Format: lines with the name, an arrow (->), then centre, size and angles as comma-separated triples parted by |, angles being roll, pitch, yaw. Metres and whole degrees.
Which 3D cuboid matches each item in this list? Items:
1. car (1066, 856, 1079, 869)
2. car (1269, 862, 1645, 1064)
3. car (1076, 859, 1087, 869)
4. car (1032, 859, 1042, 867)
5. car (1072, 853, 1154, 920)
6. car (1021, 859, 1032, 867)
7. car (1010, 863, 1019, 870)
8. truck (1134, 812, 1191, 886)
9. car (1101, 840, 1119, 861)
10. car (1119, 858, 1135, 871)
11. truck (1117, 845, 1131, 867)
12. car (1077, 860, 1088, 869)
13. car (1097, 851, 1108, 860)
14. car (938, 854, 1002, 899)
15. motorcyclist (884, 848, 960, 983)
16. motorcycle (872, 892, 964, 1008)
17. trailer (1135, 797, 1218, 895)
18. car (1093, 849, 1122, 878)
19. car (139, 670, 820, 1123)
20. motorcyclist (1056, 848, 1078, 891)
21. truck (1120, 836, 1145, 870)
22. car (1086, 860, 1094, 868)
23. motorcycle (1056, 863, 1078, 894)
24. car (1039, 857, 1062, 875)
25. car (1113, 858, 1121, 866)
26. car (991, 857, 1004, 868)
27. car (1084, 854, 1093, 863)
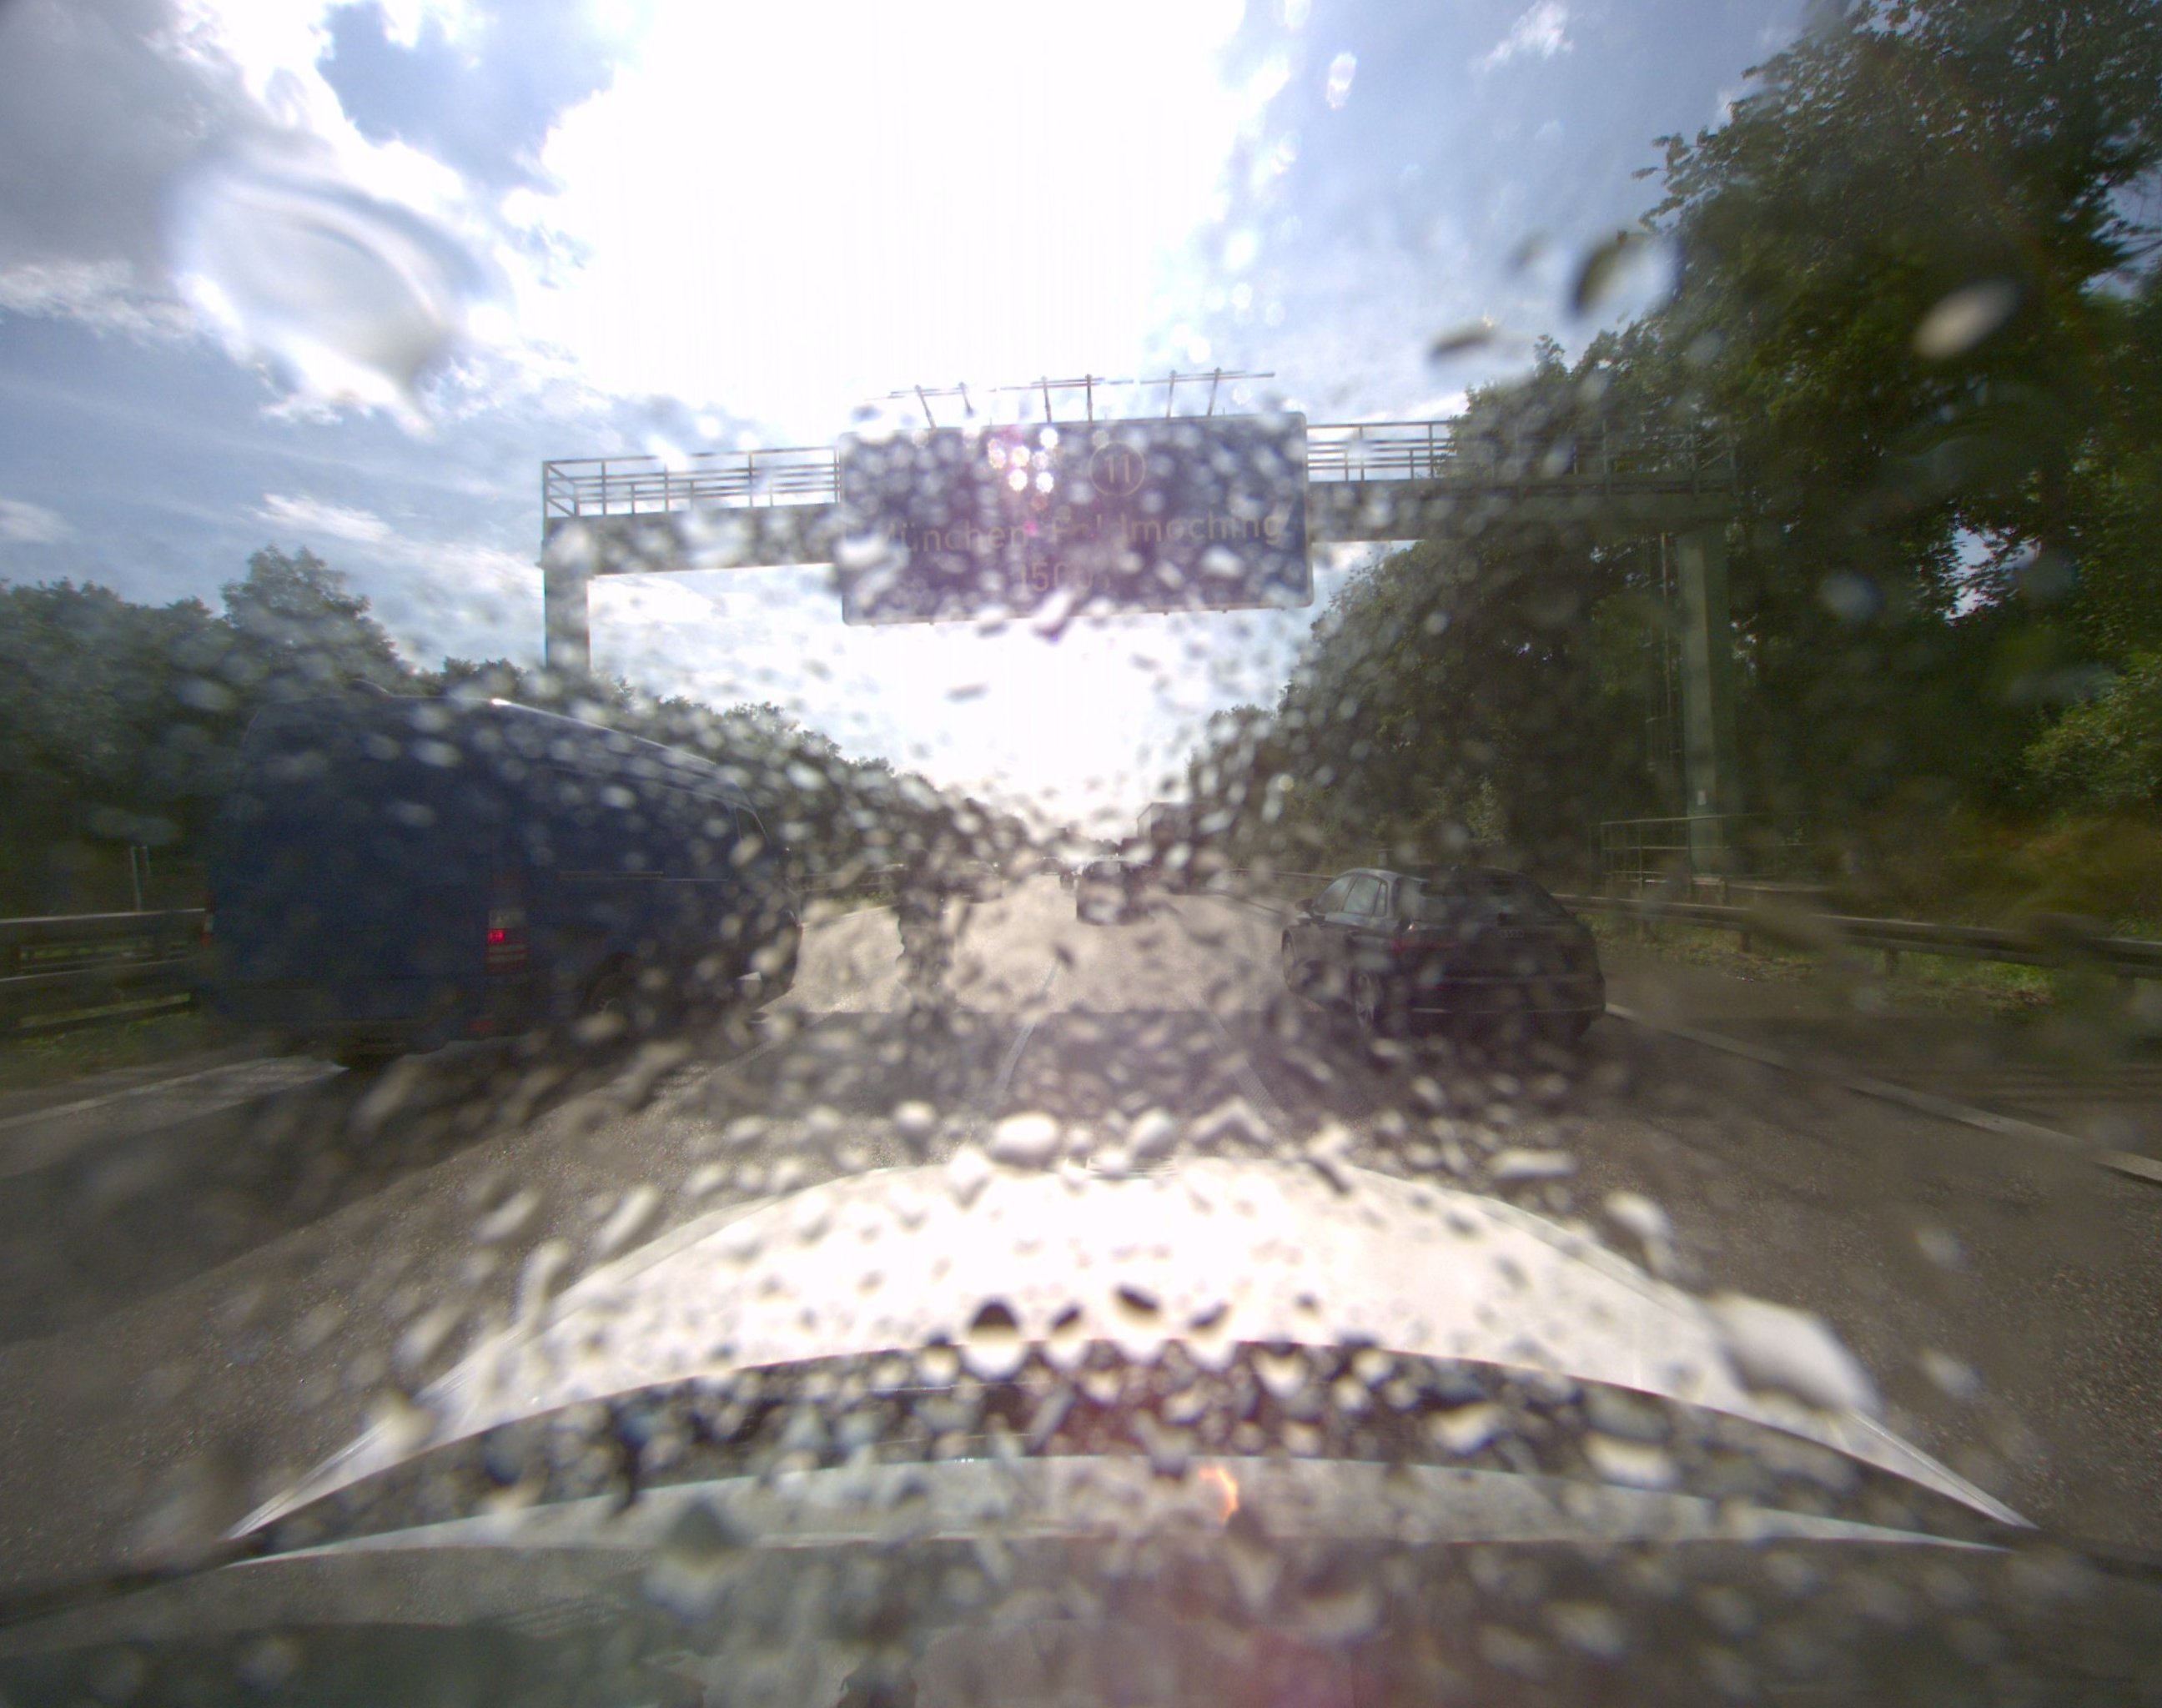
car -> -1.120, 1.137, 109.552 | 1.669, 1.597, 3.437 | -1, 0, 1
car -> 3.167, 0.791, 7.960 | 1.748, 1.396, 4.369 | -1, 0, 1
car -> 0.150, 2.050, 164.511 | 1.986, 2.014, 4.001 | -1, -1, 1
car -> -10.940, 2.233, 201.659 | 1.917, 1.911, 4.291 | -2, 0, 2
car -> 0.821, 0.781, 21.536 | 1.908, 1.565, 4.315 | -1, 0, 1
car -> -11.485, 1.908, 170.785 | 1.915, 1.580, 4.001 | -2, 0, 1
car -> -15.286, 2.928, 188.627 | 1.625, 1.482, 3.788 | -1, 0, 2
truck -> 4.933, -0.275, 50.559 | 3.041, 4.325, 5.887 | -1, 0, 1
car -> 2.724, -0.272, 77.795 | 1.669, 1.936, 3.774 | -1, 0, 1
car -> 5.396, 1.277, 95.954 | 1.669, 1.490, 3.437 | -1, 0, 1
truck -> 9.635, 0.570, 183.642 | 2.871, 4.688, 12.663 | -1, -1, 2
car -> 0.239, 1.797, 138.402 | 1.669, 1.490, 3.437 | -1, 0, 1
car -> 3.333, 0.243, 125.853 | 1.626, 1.490, 3.437 | -1, 0, 1
car -> -4.191, 0.832, 31.417 | 1.752, 1.595, 4.332 | -1, 0, 1
motorcyclist -> -1.792, 0.671, 9.287 | 0.668, 1.442, 1.019 | 0, -1, -1
motorcycle -> -1.792, 1.021, 9.241 | 0.674, 1.087, 1.981 | 0, 0, -1
trailer -> 4.744, -0.313, 43.336 | 3.077, 4.312, 14.109 | -1, 0, 2
car -> 1.861, 0.679, 57.931 | 1.986, 2.014, 4.001 | -1, -1, 1
car -> -4.482, 0.260, 7.693 | 2.008, 2.648, 5.778 | -1, 0, 1
motorcyclist -> -0.573, 0.628, 34.065 | 0.818, 1.761, 1.391 | -1, -1, 2
truck -> 7.145, -0.071, 113.103 | 3.190, 4.404, 9.437 | -1, -1, 2
car -> 2.283, 2.582, 206.308 | 1.986, 2.014, 4.001 | -1, -1, 1
motorcycle -> -0.571, 1.006, 34.011 | 0.816, 1.263, 2.118 | -1, 0, 2
car -> -2.873, 1.115, 77.181 | 1.886, 1.628, 4.196 | -1, 0, 1
car -> 9.580, 2.051, 215.865 | 1.986, 2.014, 4.001 | -1, -1, 1
car -> -16.274, 1.680, 158.923 | 1.986, 2.013, 4.001 | 0, 0, 1
car -> 1.715, 1.073, 185.410 | 1.986, 2.014, 4.001 | -1, -1, 1
